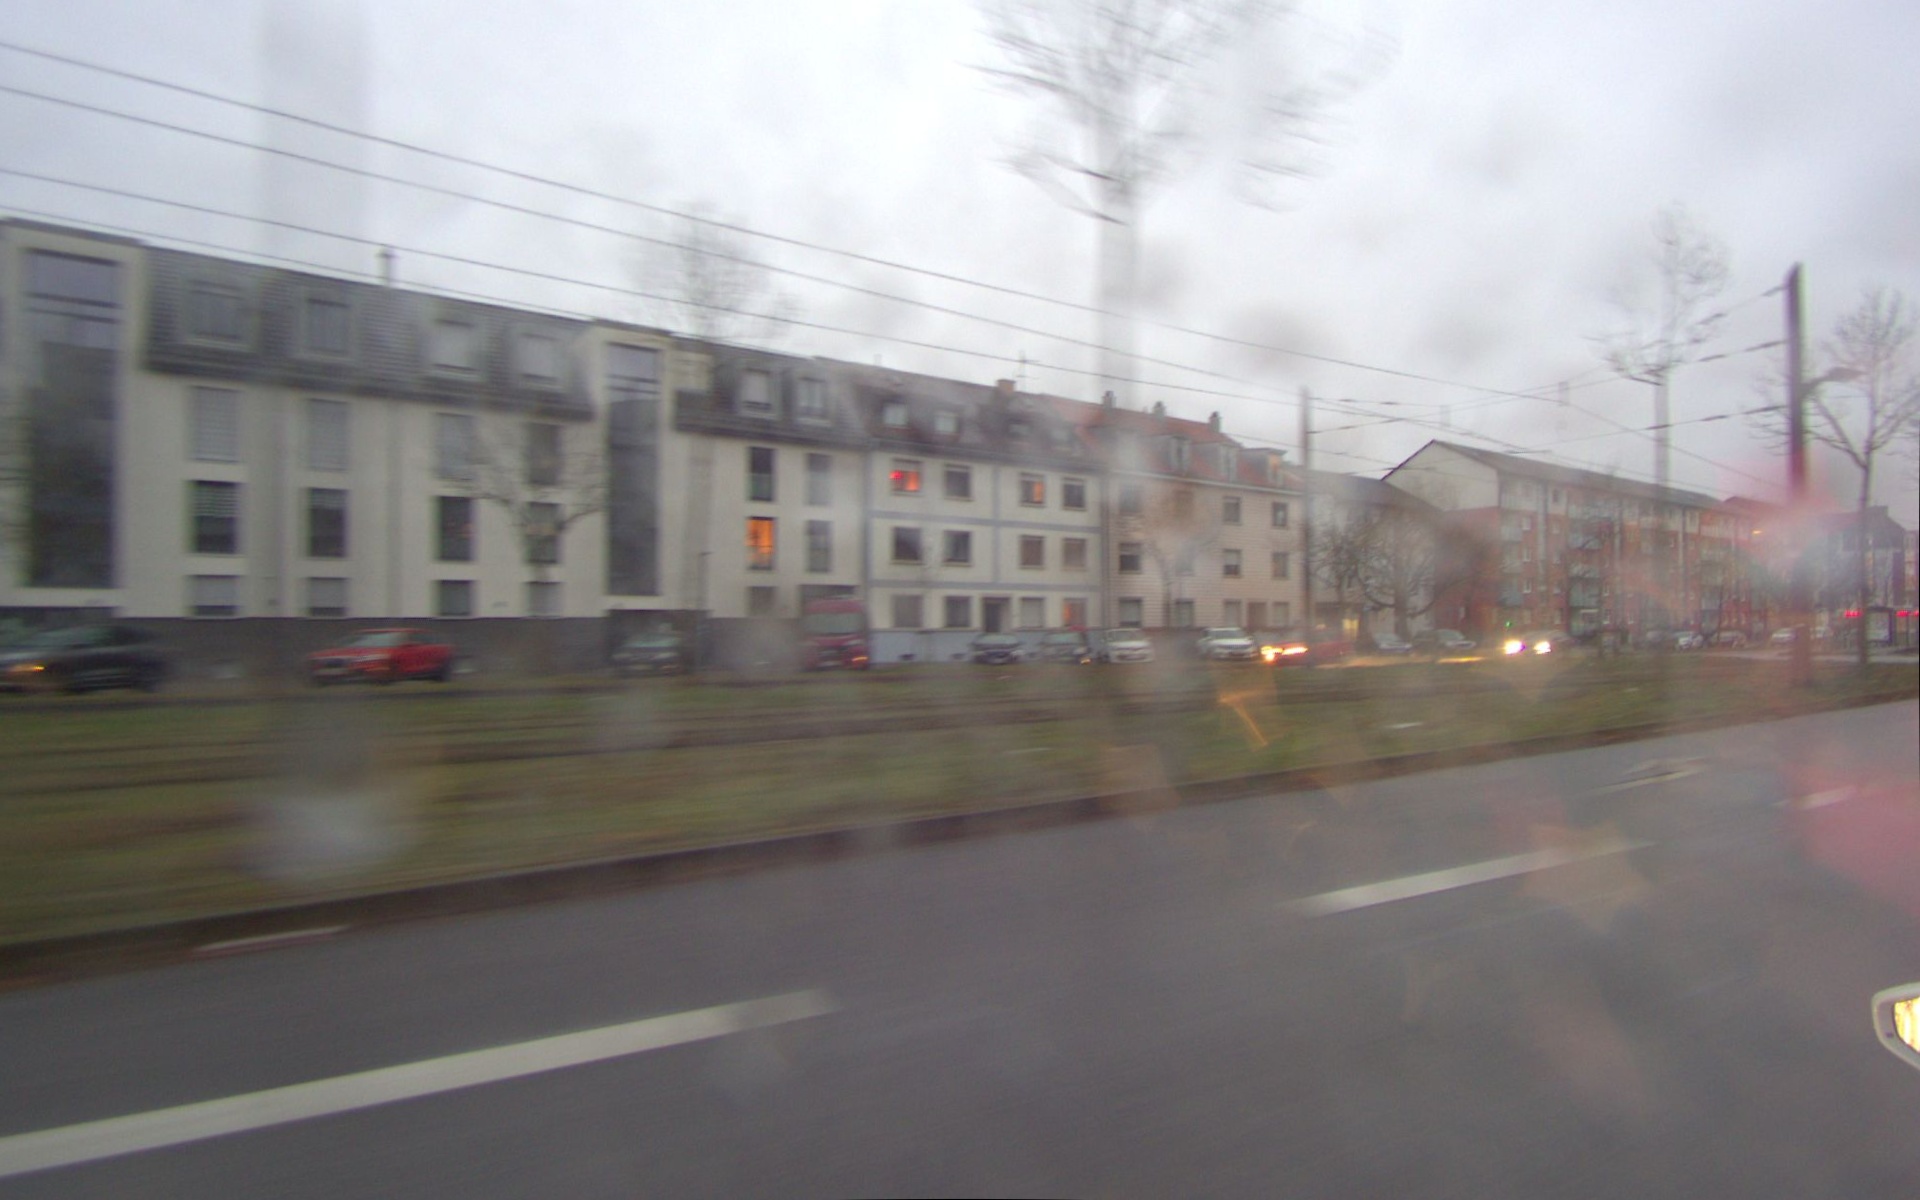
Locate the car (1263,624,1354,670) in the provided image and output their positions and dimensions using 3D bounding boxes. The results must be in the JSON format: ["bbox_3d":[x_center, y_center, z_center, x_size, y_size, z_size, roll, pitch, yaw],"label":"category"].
[{"bbox_3d":[13.334,1.757,38.385,3.475,1.645,1.602,1,0,-36],"label":"car"}]

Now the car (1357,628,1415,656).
[{"bbox_3d":[22.083,2.139,52.145,1.424,1.355,3.768,0,-1,0],"label":"car"}]

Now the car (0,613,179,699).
[{"bbox_3d":[-19.066,1.103,21.360,1.637,1.561,4.163,1,0,1],"label":"car"}]

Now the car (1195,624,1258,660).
[{"bbox_3d":[11.666,1.826,44.218,1.737,1.397,4.125,1,0,1],"label":"car"}]

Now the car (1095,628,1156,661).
[{"bbox_3d":[6.542,1.751,40.036,1.659,1.162,3.417,1,0,-4],"label":"car"}]

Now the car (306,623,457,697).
[{"bbox_3d":[-14.323,1.427,25.118,1.709,1.610,3.847,1,0,-4],"label":"car"}]

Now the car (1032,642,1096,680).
[{"bbox_3d":[3.892,2.286,38.084,1.846,1.216,3.538,1,0,-4],"label":"car"}]

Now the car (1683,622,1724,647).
[{"bbox_3d":[63.899,2.931,86.332,3.967,2.040,1.977,1,0,-40],"label":"car"}]

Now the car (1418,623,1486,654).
[{"bbox_3d":[27.061,2.089,55.395,1.709,1.576,3.797,1,0,-3],"label":"car"}]

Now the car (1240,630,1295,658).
[{"bbox_3d":[14.021,2.000,45.986,1.370,1.162,3.043,1,0,-5],"label":"car"}]

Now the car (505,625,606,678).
[{"bbox_3d":[-11.367,1.414,28.412,1.360,1.320,3.098,1,0,6],"label":"car"}]

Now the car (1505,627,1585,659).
[{"bbox_3d":[30.310,2.188,51.998,4.745,1.522,1.866,1,0,-37],"label":"car"}]

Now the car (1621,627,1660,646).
[{"bbox_3d":[52.051,2.781,76.809,3.354,1.304,1.434,1,0,-37],"label":"car"}]

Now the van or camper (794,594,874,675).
[{"bbox_3d":[-4.084,1.035,33.616,1.961,2.391,6.879,1,0,-2],"label":"van or camper"}]

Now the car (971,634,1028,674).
[{"bbox_3d":[1.407,1.953,36.944,1.714,1.228,3.538,1,0,-4],"label":"car"}]

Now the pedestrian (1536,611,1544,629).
[{"bbox_3d":[38.223,1.308,66.216,0.339,1.200,0.434,1,0,14],"label":"pedestrian"}]

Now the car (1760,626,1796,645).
[{"bbox_3d":[77.262,3.340,94.839,3.695,1.618,1.916,1,0,-39],"label":"car"}]

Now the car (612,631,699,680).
[{"bbox_3d":[-8.681,1.552,28.805,1.360,1.220,2.889,1,0,6],"label":"car"}]
